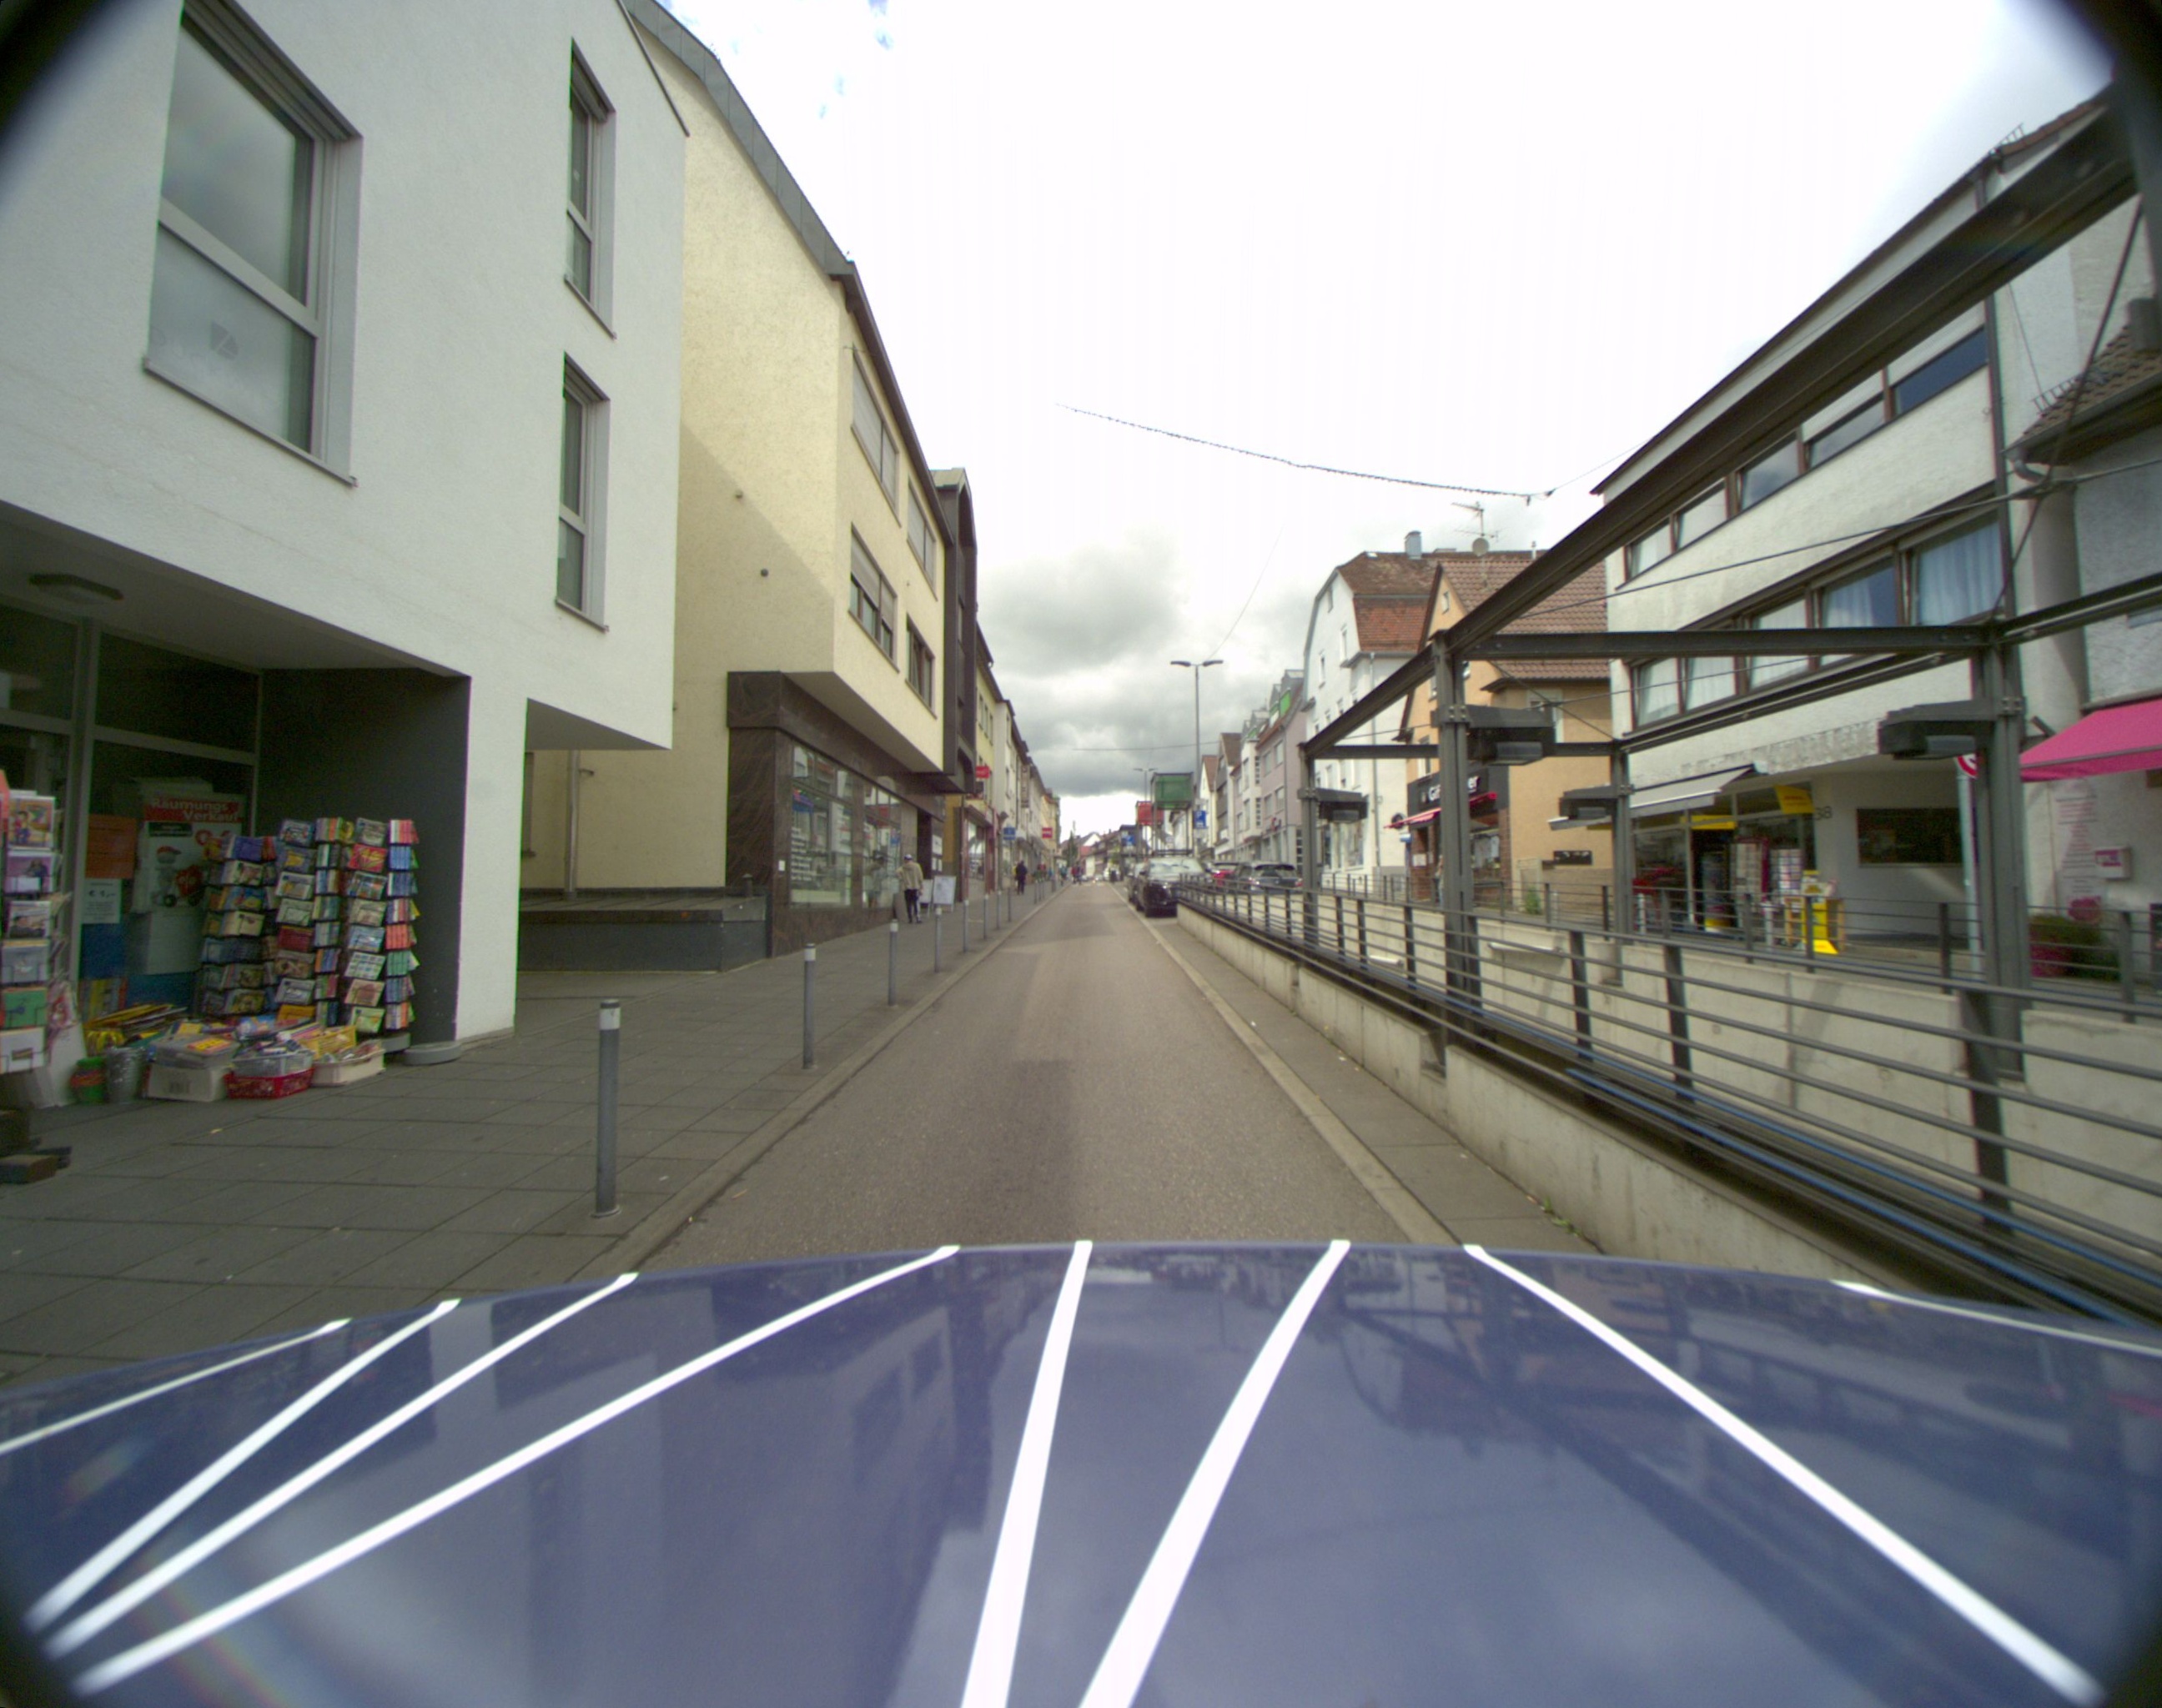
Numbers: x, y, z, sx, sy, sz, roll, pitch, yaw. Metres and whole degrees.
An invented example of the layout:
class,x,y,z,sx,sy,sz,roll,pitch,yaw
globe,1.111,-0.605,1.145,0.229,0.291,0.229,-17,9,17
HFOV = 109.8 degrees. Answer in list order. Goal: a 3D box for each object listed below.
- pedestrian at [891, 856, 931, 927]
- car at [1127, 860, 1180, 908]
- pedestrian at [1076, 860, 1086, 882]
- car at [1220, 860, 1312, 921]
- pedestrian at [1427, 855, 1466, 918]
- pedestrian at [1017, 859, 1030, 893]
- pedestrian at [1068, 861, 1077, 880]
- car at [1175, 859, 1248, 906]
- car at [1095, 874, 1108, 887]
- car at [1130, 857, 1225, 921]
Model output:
class,x,y,z,sx,sy,sz,roll,pitch,yaw
pedestrian,-4.137,0.896,18.574,0.760,1.663,0.780,2,0,-2
car,2.581,1.044,27.647,1.577,1.600,3.533,-2,0,1
pedestrian,-0.007,1.378,61.529,0.761,1.764,0.851,0,0,-6
car,5.192,0.980,21.807,1.703,1.538,3.899,-2,0,1
pedestrian,10.078,0.888,20.956,0.748,1.704,0.664,0,0,1
pedestrian,-2.875,1.076,37.819,0.639,1.688,0.708,0,0,-5
pedestrian,-0.676,1.340,60.618,0.663,1.519,0.705,0,0,-6
car,4.842,1.004,28.833,1.998,1.580,4.495,-2,0,1
car,3.224,4.197,121.304,1.998,2.002,4.000,0,0,1
car,2.592,0.905,21.448,1.999,1.557,4.431,-2,0,-1
